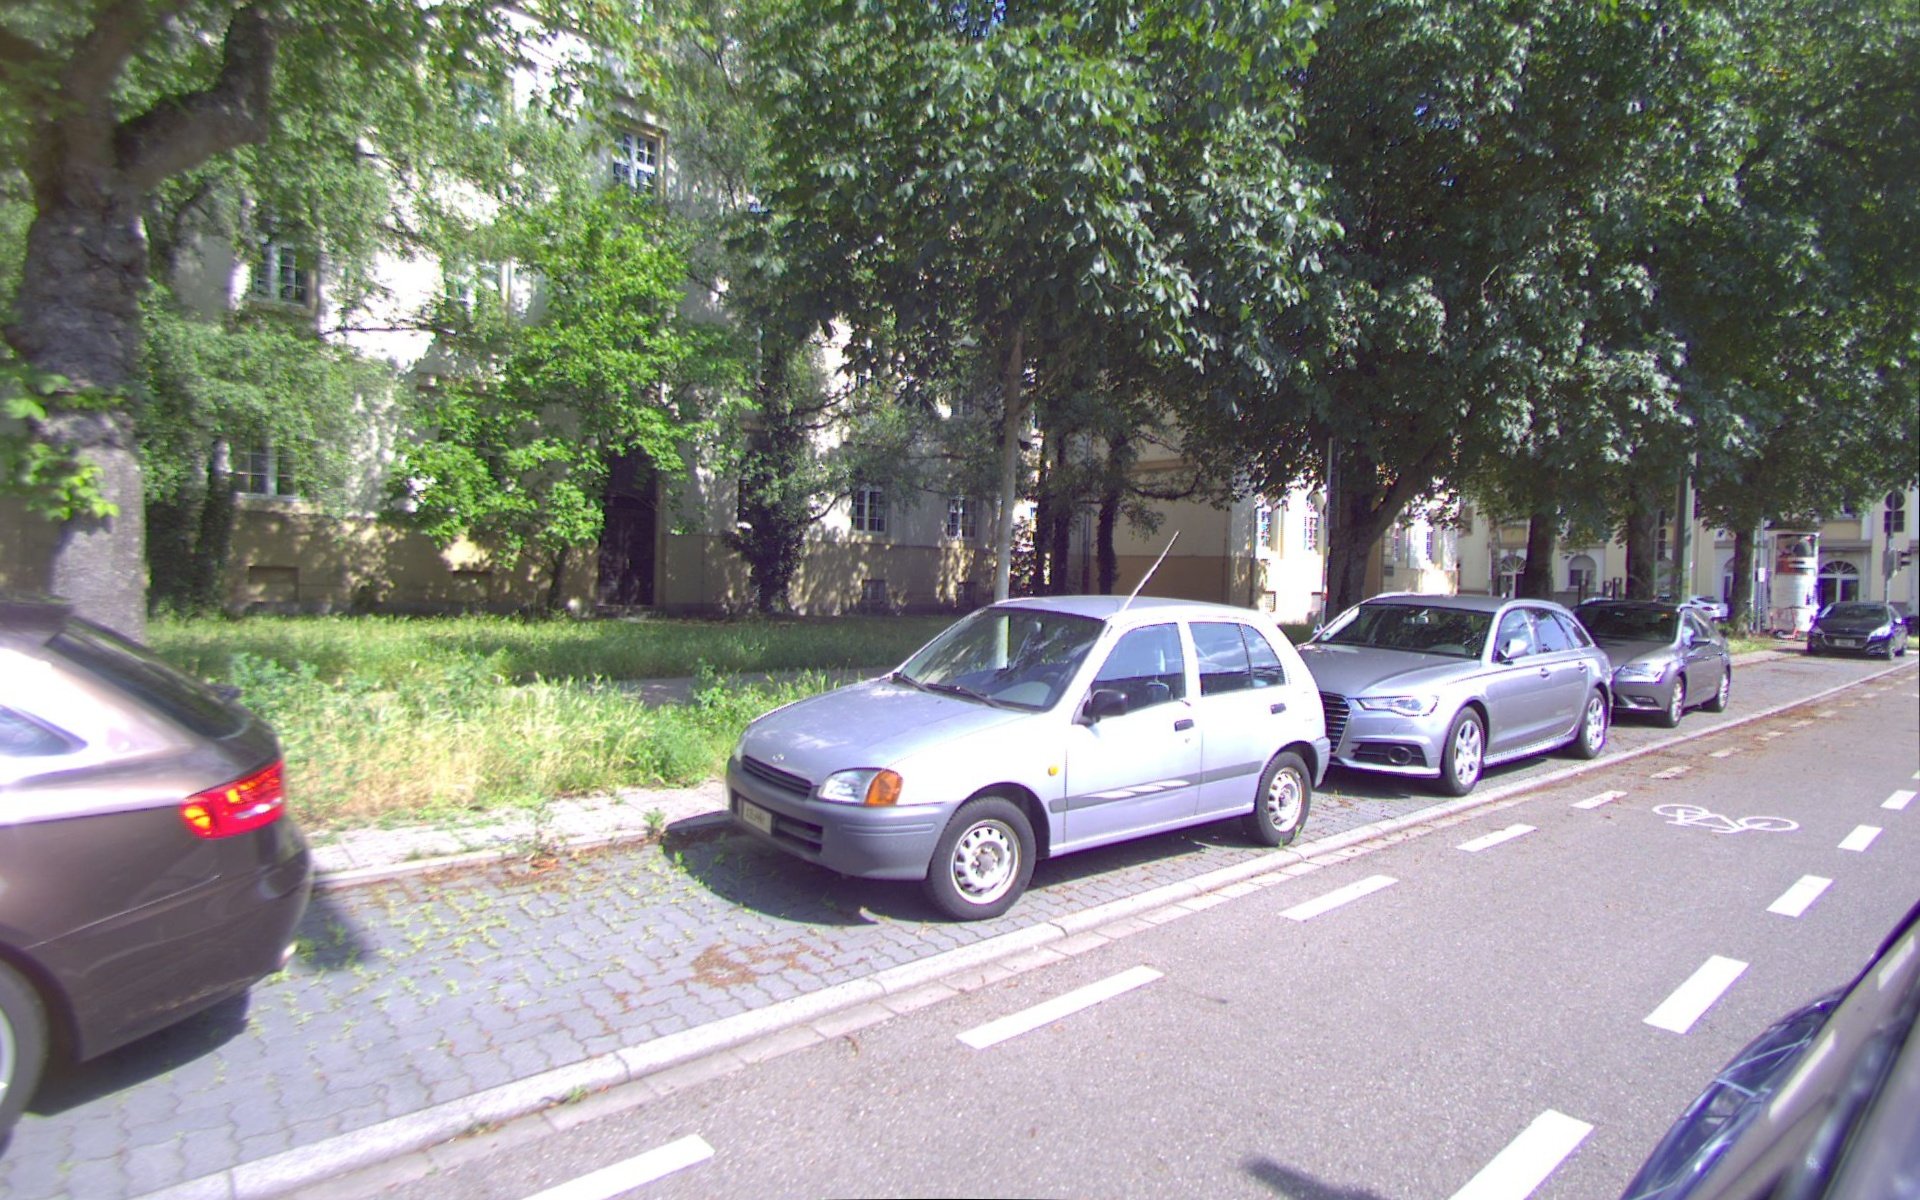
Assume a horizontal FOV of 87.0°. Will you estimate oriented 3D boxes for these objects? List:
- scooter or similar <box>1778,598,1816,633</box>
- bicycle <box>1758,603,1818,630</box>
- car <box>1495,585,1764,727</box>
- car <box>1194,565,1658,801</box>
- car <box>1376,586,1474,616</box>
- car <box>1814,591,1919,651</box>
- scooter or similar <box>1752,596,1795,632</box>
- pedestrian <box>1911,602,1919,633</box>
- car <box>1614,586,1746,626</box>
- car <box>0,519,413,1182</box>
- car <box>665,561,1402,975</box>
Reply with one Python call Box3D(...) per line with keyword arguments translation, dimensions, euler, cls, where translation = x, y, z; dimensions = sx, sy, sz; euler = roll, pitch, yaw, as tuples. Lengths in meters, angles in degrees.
Box3D(translation=(29.216, 0.536, 35.322), dimensions=(1.103, 1.193, 0.415), euler=(1, -1, -13), cls="scooter or similar")
Box3D(translation=(36.226, 0.707, 44.311), dimensions=(0.603, 1.058, 1.950), euler=(0, 3, -19), cls="bicycle")
Box3D(translation=(8.981, 0.620, 13.406), dimensions=(4.577, 1.417, 1.833), euler=(0, 5, -43), cls="car")
Box3D(translation=(4.380, 0.547, 9.066), dimensions=(4.961, 1.458, 1.833), euler=(1, 5, -41), cls="car")
Box3D(translation=(23.434, 0.053, 51.077), dimensions=(4.096, 1.369, 1.860), euler=(1, 1, -5), cls="car")
Box3D(translation=(24.285, 0.508, 26.980), dimensions=(3.856, 1.404, 1.689), euler=(-1, 4, -41), cls="car")
Box3D(translation=(29.010, 0.491, 36.115), dimensions=(0.437, 1.257, 1.111), euler=(1, 1, -19), cls="scooter or similar")
Box3D(translation=(40.822, 0.743, 42.764), dimensions=(0.745, 1.304, 0.804), euler=(-2, 3, -38), cls="pedestrian")
Box3D(translation=(34.222, 0.251, 48.253), dimensions=(1.820, 1.676, 4.841), euler=(-1, 2, -30), cls="car")
Box3D(translation=(-3.880, 0.553, 1.865), dimensions=(4.753, 1.484, 1.833), euler=(-1, 5, -45), cls="car")
Box3D(translation=(0.611, 0.618, 5.596), dimensions=(3.942, 1.448, 1.641), euler=(1, 4, -39), cls="car")
